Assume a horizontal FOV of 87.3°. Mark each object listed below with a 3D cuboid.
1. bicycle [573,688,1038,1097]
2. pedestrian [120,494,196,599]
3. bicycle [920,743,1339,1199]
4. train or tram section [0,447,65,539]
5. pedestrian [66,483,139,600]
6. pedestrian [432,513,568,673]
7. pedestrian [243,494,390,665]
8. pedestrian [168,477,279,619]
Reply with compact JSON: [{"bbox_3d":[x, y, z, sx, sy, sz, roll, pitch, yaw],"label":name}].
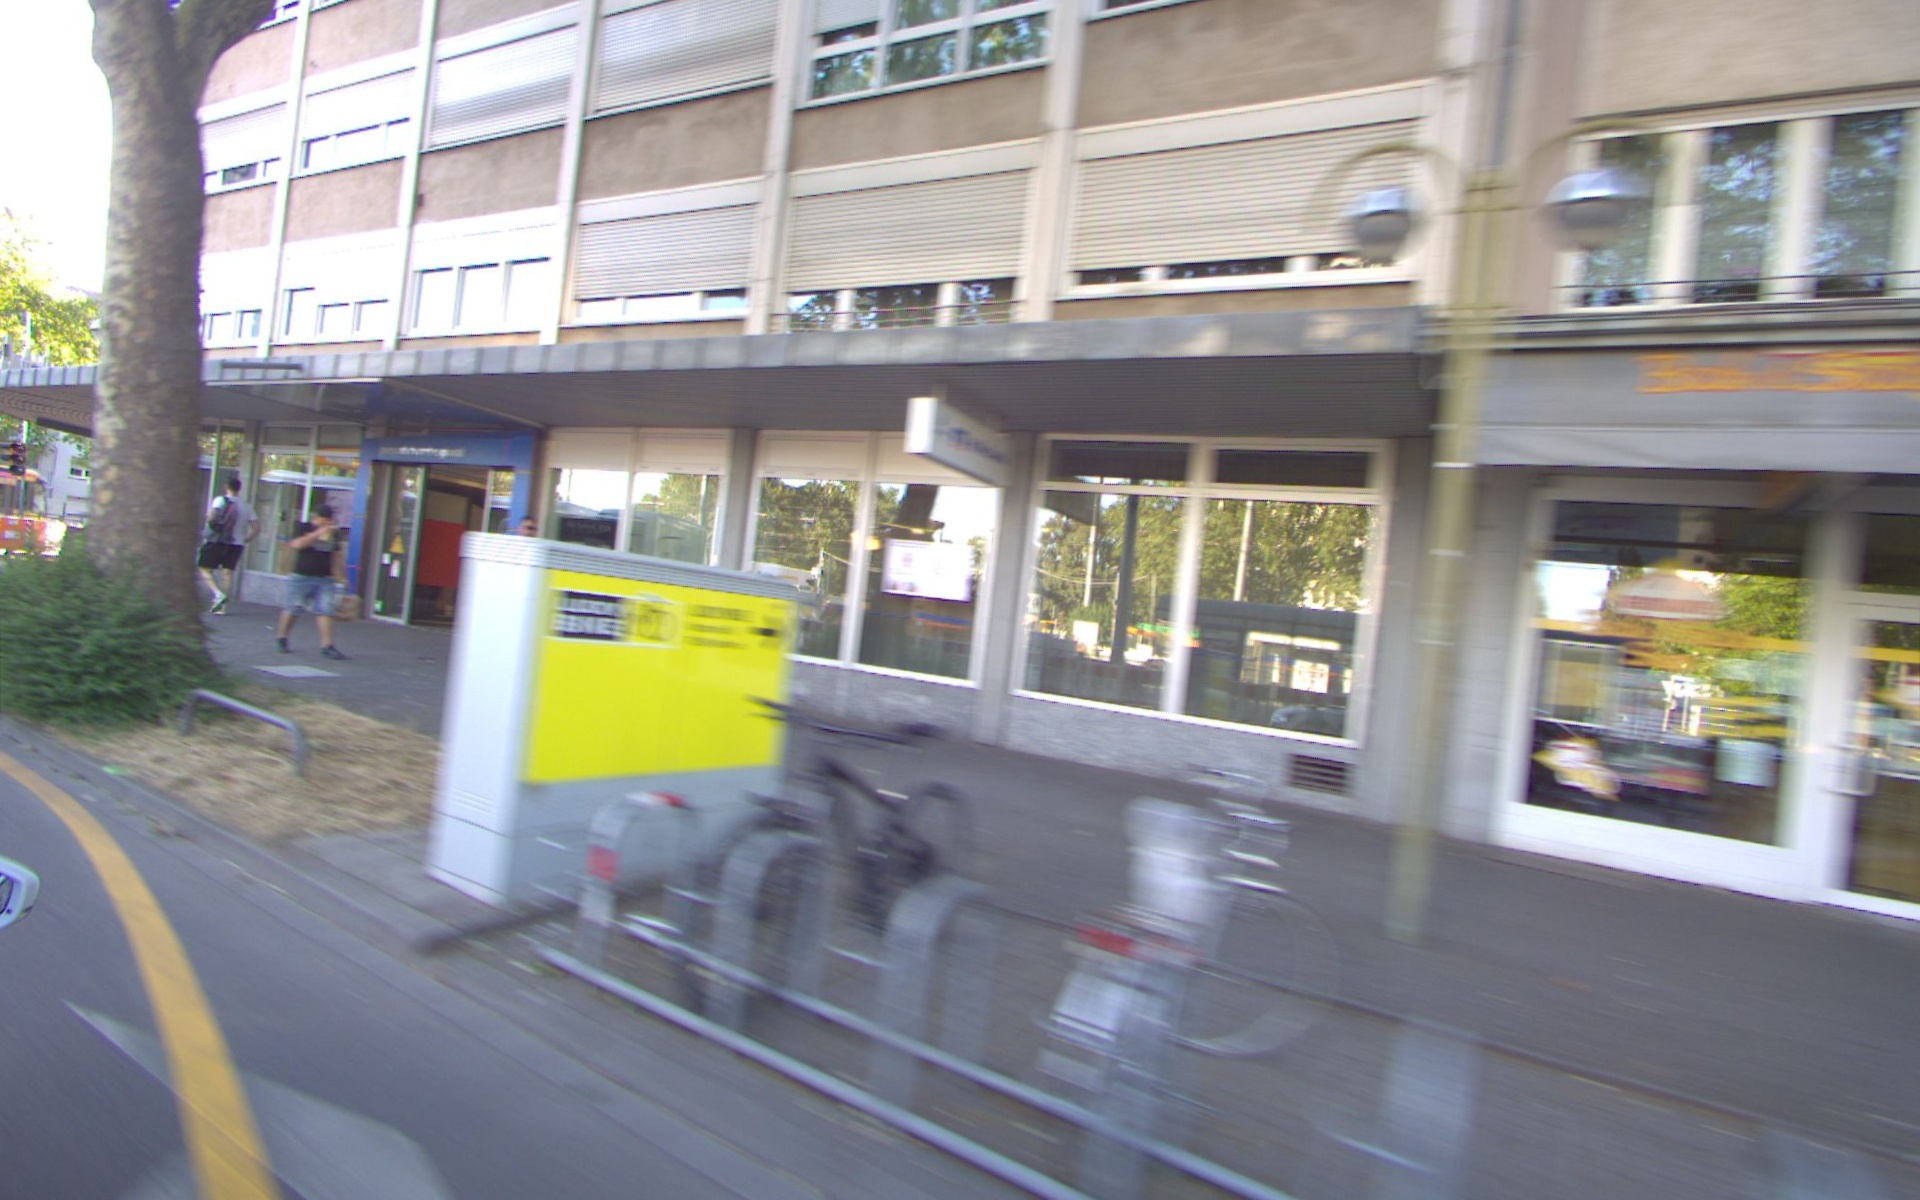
[{"bbox_3d":[-0.454,0.962,4.041,0.757,1.071,1.991,7,0,26],"label":"bicycle"},{"bbox_3d":[-13.045,-0.861,16.374,0.761,1.594,0.633,8,3,28],"label":"pedestrian"},{"bbox_3d":[0.653,1.083,3.161,0.633,1.071,1.716,7,0,30],"label":"bicycle"},{"bbox_3d":[-43.200,-5.122,38.619,2.600,3.559,13.342,6,-2,20],"label":"train or tram section"},{"bbox_3d":[-13.378,-0.900,15.698,0.667,1.731,0.583,7,3,28],"label":"pedestrian"},{"bbox_3d":[-5.399,-0.087,11.818,1.052,1.720,0.899,7,3,28],"label":"pedestrian"},{"bbox_3d":[-7.100,-0.230,11.112,1.052,1.734,0.899,7,3,28],"label":"pedestrian"},{"bbox_3d":[-10.480,-0.732,14.325,1.080,1.895,0.838,7,4,28],"label":"pedestrian"}]
